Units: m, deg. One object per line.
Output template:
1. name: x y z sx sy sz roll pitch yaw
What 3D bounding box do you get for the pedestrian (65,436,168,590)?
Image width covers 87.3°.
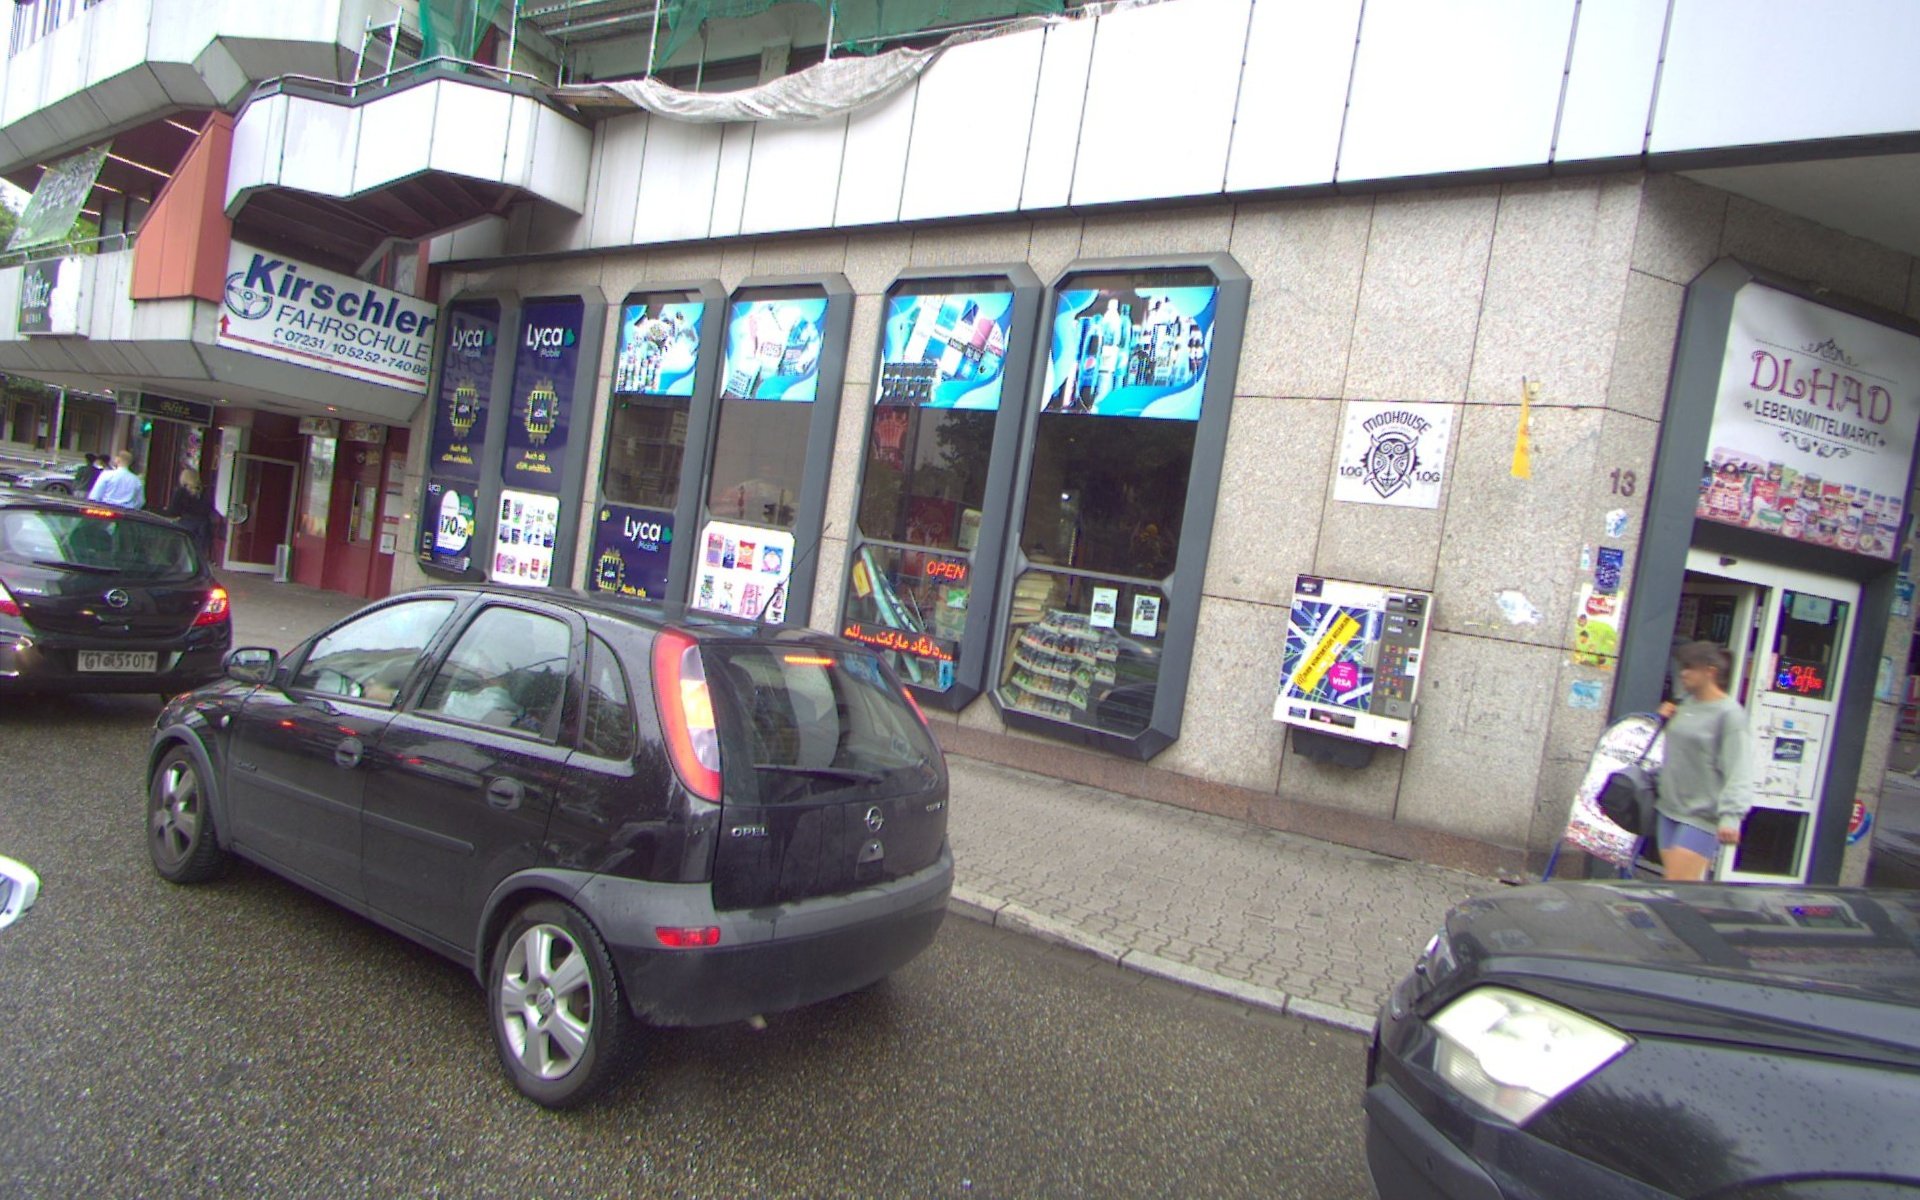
1. pedestrian: -11.457 -1.168 13.670 0.629 1.957 0.737 6 -1 31

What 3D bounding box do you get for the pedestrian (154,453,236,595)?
1. pedestrian: -11.019 -1.075 14.493 0.629 1.961 0.736 6 4 31

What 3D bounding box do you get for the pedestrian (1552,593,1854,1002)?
1. pedestrian: 3.643 0.922 5.019 0.759 1.841 0.743 4 3 0

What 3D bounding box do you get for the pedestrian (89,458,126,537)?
1. pedestrian: -18.631 -2.237 21.977 0.496 1.660 0.396 6 1 32

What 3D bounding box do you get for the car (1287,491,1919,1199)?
1. car: 2.791 1.010 1.426 4.094 1.786 1.763 8 -1 32

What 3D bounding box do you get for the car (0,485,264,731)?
1. car: -7.076 -0.109 7.374 3.776 1.446 1.620 8 -1 29

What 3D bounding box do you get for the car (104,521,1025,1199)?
1. car: -1.754 0.647 4.115 3.563 1.446 1.609 8 -1 33

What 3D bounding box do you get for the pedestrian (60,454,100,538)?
1. pedestrian: -18.651 -2.207 21.326 0.443 1.704 0.426 6 1 30

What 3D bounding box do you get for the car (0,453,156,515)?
1. car: -28.202 -3.653 32.013 1.808 1.226 3.690 5 -3 36
